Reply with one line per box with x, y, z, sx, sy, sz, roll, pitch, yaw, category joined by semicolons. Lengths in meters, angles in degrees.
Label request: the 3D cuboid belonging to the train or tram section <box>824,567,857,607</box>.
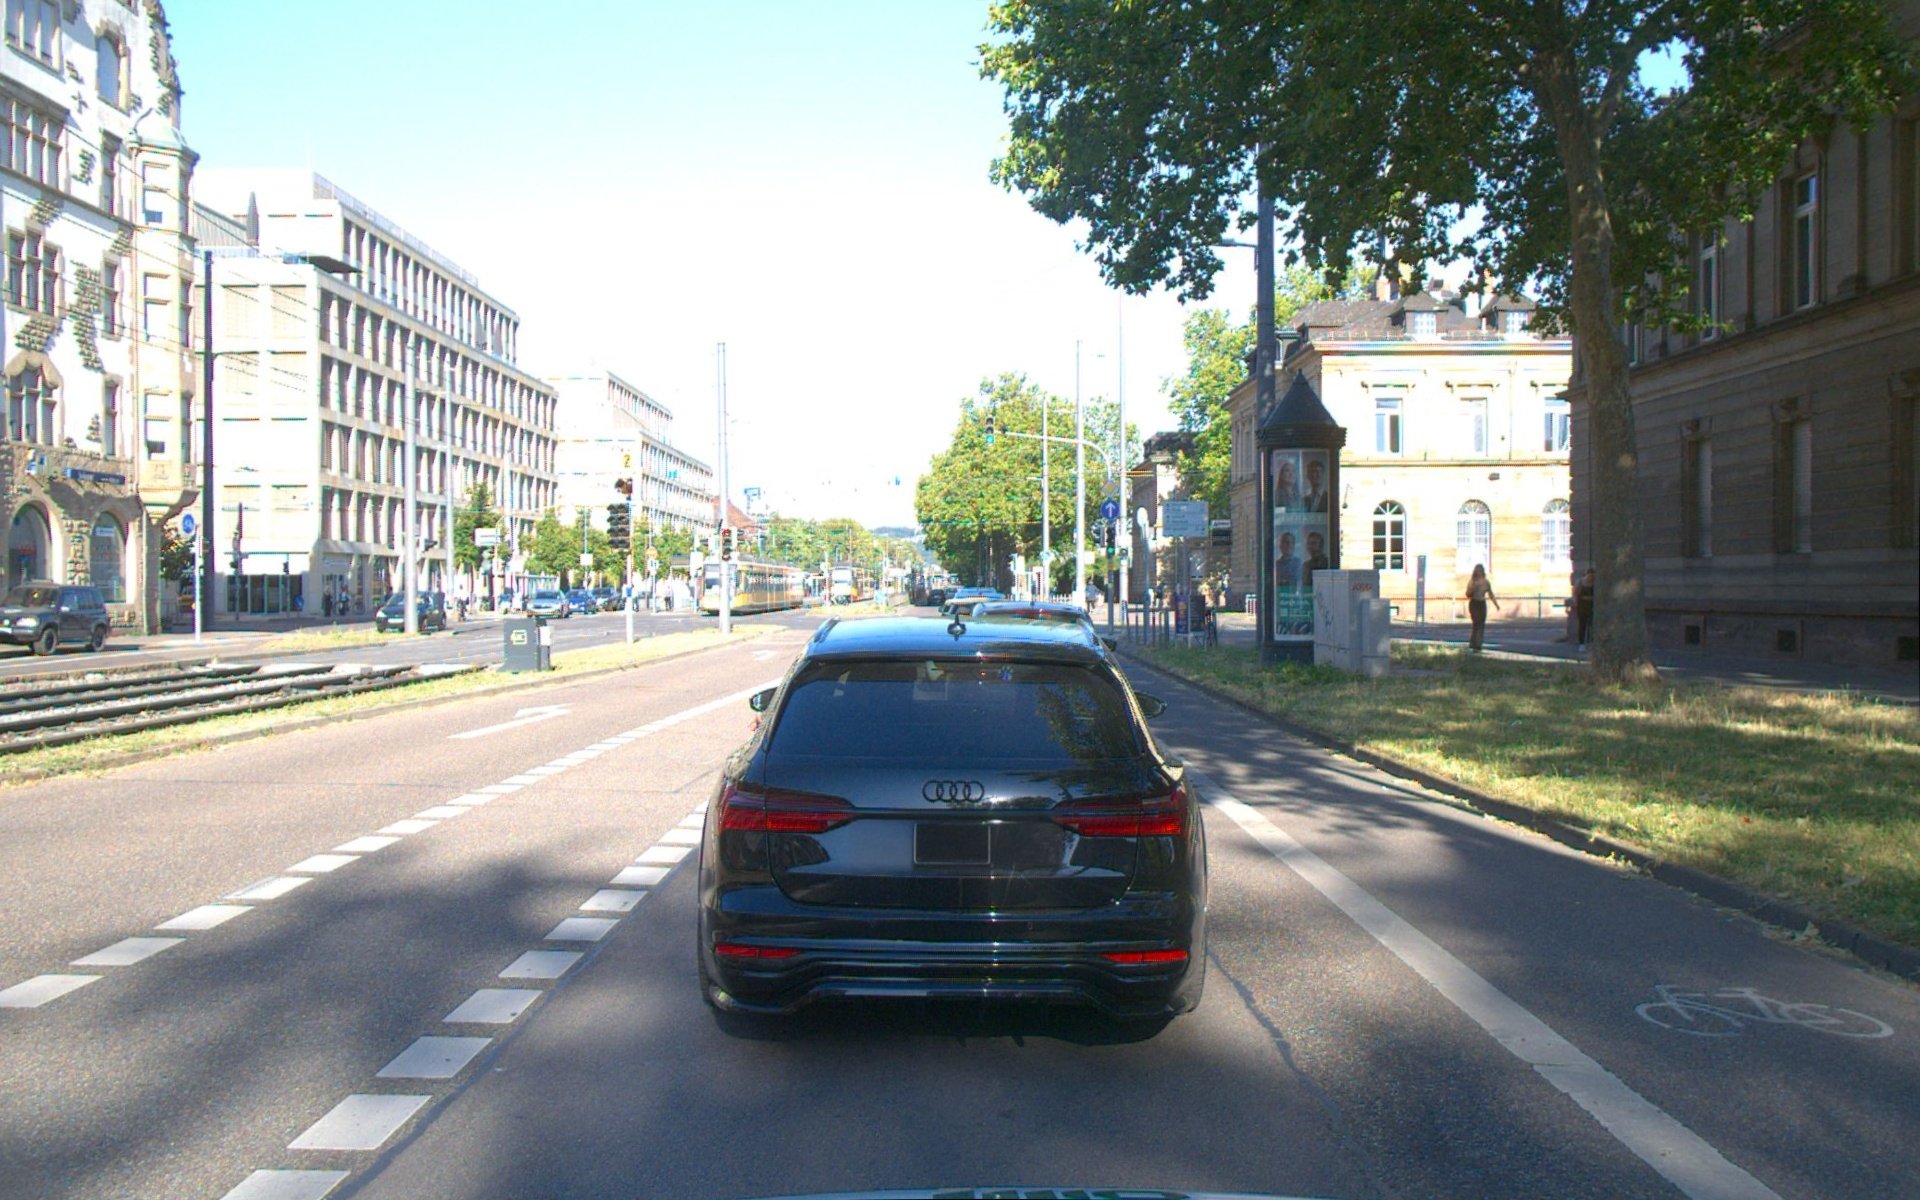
-10.778;-1.176;149.558;2.556;3.511;11.128;-1;1;-2;train or tram section

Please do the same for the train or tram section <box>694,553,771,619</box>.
-13.237;-0.821;97.253;2.755;3.550;13.203;-1;0;0;train or tram section

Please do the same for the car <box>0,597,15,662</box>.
-22.357;0.672;35.395;1.682;1.448;4.654;2;1;-2;car

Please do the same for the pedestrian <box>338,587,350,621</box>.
-34.242;0.208;91.933;0.527;1.876;0.437;-1;0;-38;pedestrian

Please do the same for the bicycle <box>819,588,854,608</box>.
-7.241;-0.124;97.097;1.973;1.127;0.761;-1;0;-16;bicycle

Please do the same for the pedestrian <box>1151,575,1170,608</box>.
11.778;-0.509;97.140;0.959;1.898;0.827;-1;0;0;pedestrian

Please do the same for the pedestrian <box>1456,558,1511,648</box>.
10.296;0.058;32.542;0.753;1.739;1.042;-1;0;1;pedestrian

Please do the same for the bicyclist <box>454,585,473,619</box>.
-23.972;0.091;79.852;0.671;1.590;0.785;-1;0;1;bicyclist

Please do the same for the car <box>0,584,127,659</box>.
-22.431;0.476;40.800;1.682;1.704;4.215;2;1;-2;car

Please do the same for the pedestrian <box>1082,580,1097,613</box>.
6.712;-0.185;85.820;0.668;1.689;0.758;-1;0;-2;pedestrian

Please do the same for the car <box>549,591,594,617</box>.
-22.923;0.197;97.746;1.783;1.482;4.155;-1;0;-2;car

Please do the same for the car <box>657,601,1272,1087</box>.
0.020;0.750;7.132;1.863;1.446;4.144;1;0;0;car

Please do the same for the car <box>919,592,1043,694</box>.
0.322;0.643;27.049;1.863;1.512;4.144;1;0;0;car

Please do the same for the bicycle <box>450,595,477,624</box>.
-23.972;0.451;79.907;0.671;1.406;1.947;-1;0;1;bicycle

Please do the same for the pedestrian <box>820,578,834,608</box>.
-7.929;-0.415;98.564;0.727;1.772;0.661;-1;0;-14;pedestrian

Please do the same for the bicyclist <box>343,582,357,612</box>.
-34.660;-0.180;94.028;0.635;1.715;0.571;-1;0;-31;bicyclist

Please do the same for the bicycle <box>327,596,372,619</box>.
-34.696;0.416;94.014;2.357;1.236;0.571;-1;0;-32;bicycle

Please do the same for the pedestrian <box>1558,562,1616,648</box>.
12.255;0.088;32.333;0.753;1.634;0.986;-1;0;1;pedestrian

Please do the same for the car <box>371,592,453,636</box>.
-19.839;0.485;60.006;1.784;1.482;4.163;-1;0;-3;car

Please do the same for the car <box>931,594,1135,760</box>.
0.674;0.701;17.299;1.863;1.512;4.144;1;0;0;car

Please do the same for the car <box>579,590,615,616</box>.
-27.058;0.217;123.418;1.804;1.844;4.112;-1;0;-1;car

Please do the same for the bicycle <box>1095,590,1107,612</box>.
7.325;0.046;85.852;0.426;1.165;1.340;-1;0;-2;bicycle

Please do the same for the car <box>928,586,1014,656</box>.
0.250;0.453;38.502;1.863;1.512;4.144;1;0;0;car

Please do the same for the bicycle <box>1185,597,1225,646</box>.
5.621;0.470;38.006;0.529;1.080;1.770;-1;0;-4;bicycle

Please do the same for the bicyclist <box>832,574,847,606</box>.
-7.094;-0.607;97.130;0.744;1.850;0.761;-1;0;-16;bicyclist

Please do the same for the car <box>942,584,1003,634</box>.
0.397;0.277;53.107;1.863;1.512;4.144;1;0;0;car

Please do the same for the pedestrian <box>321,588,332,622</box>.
-35.044;0.296;91.495;0.468;1.876;0.437;-1;0;-38;pedestrian

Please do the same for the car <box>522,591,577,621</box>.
-21.104;0.288;85.153;1.783;1.482;4.539;-1;0;-2;car
